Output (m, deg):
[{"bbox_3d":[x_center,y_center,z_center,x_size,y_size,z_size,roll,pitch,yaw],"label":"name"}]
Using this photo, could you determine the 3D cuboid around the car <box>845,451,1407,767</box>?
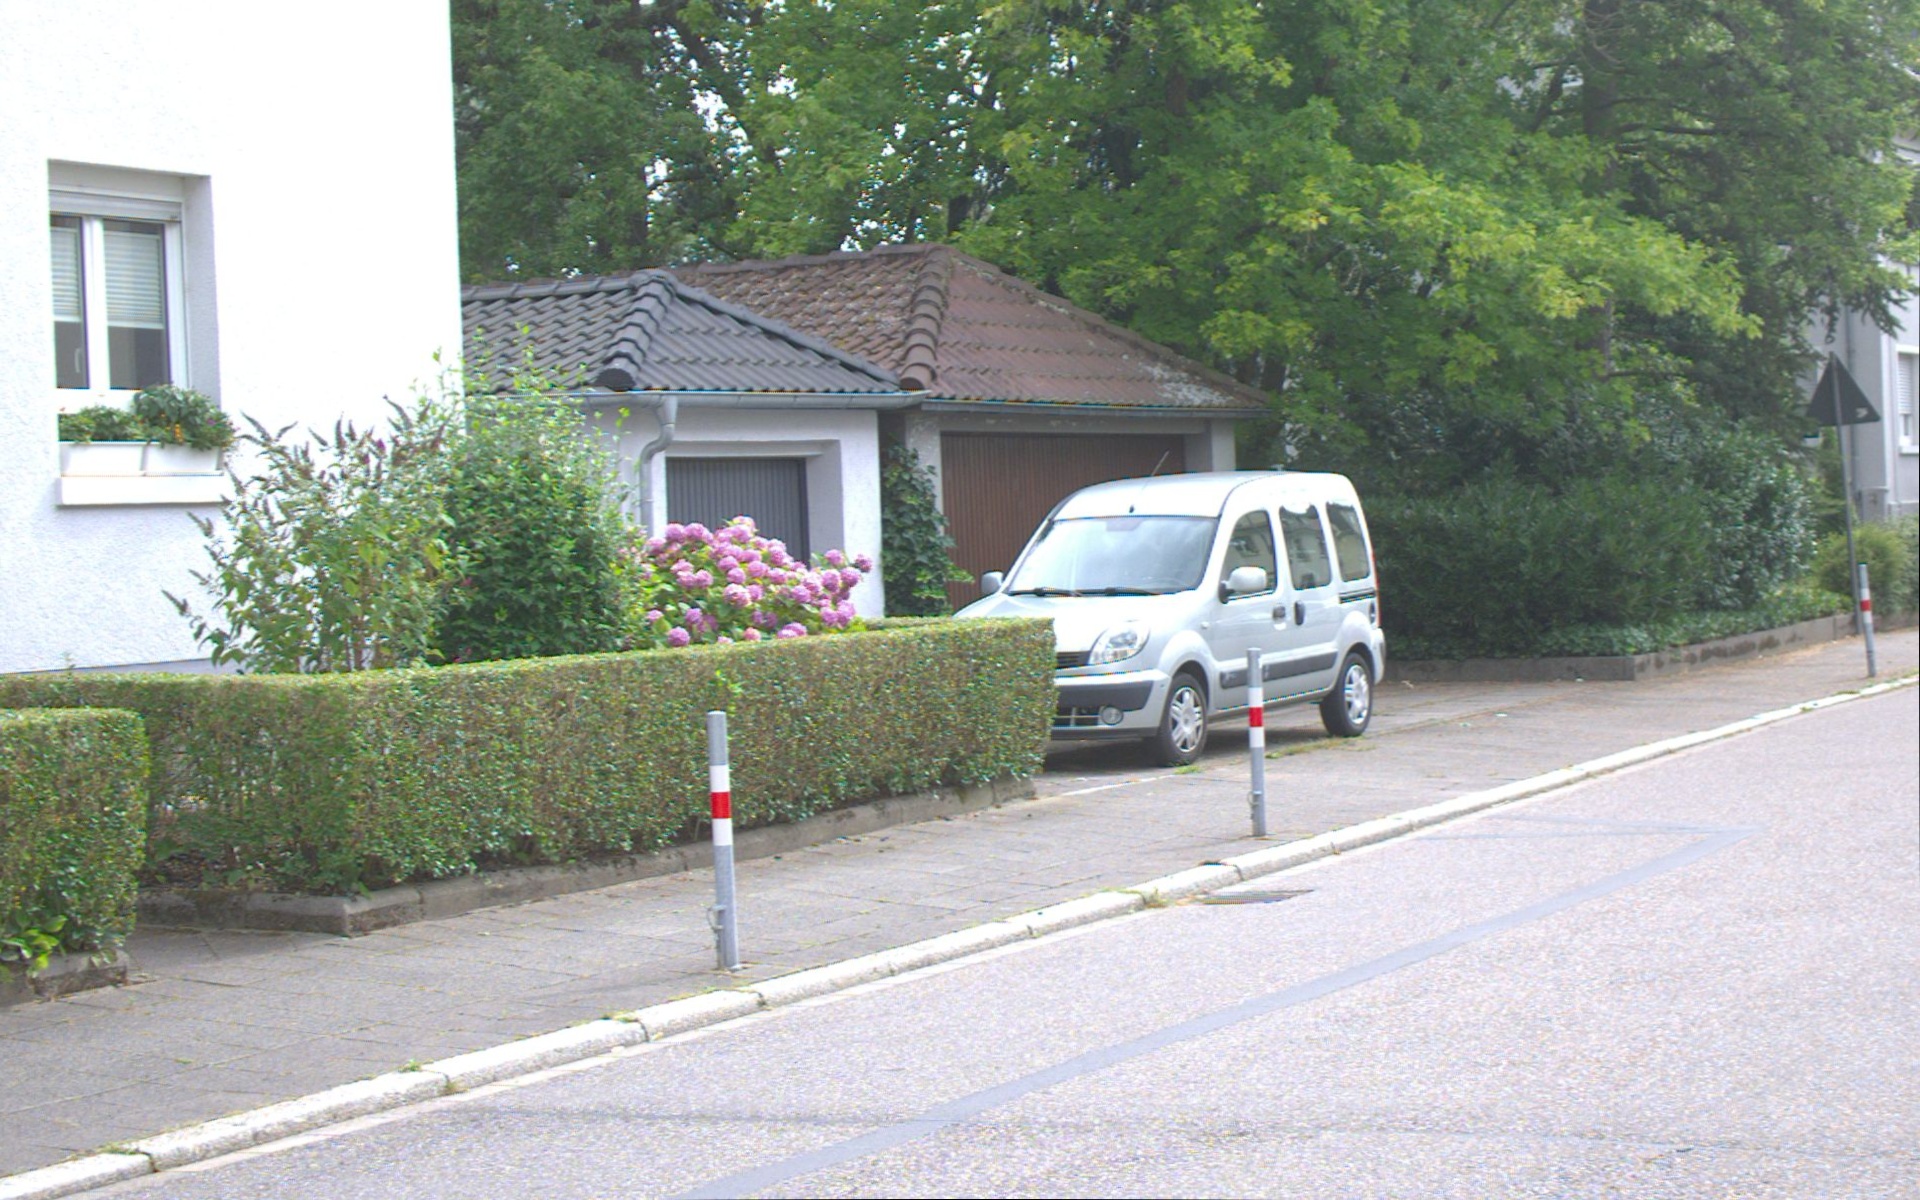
[{"bbox_3d":[1.184,0.005,22.339,1.997,1.831,3.994,-2,2,30],"label":"car"}]
